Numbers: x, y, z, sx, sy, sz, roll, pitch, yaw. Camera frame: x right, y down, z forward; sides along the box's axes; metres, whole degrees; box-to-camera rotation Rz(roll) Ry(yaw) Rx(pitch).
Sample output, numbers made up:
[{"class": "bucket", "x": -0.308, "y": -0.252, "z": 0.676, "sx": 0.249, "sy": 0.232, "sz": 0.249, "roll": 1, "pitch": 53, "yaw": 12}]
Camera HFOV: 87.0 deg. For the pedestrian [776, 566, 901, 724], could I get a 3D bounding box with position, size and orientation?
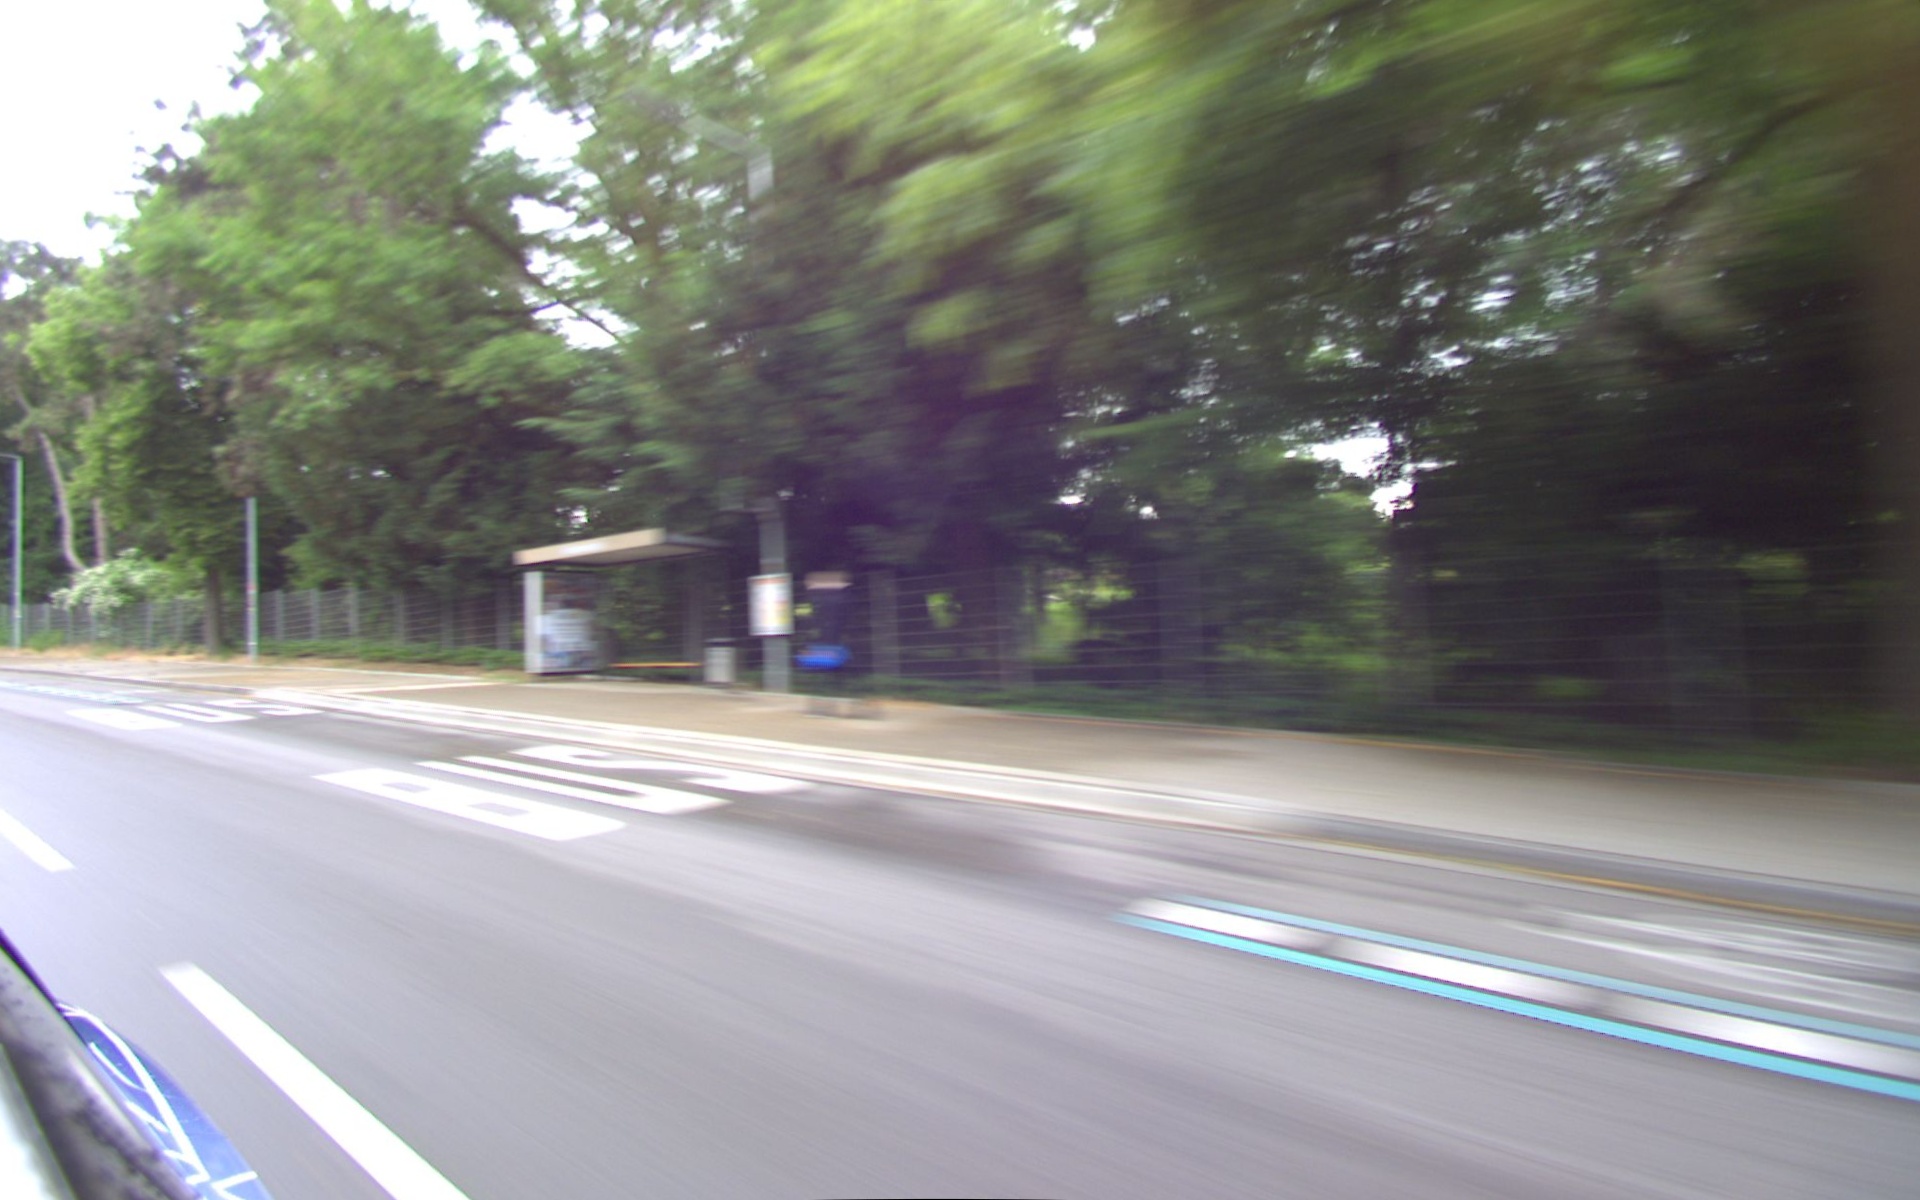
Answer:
[{"class": "pedestrian", "x": -1.421, "y": 0.502, "z": 11.870, "sx": 1.144, "sy": 1.746, "sz": 0.879, "roll": -2, "pitch": -1, "yaw": 36}]
